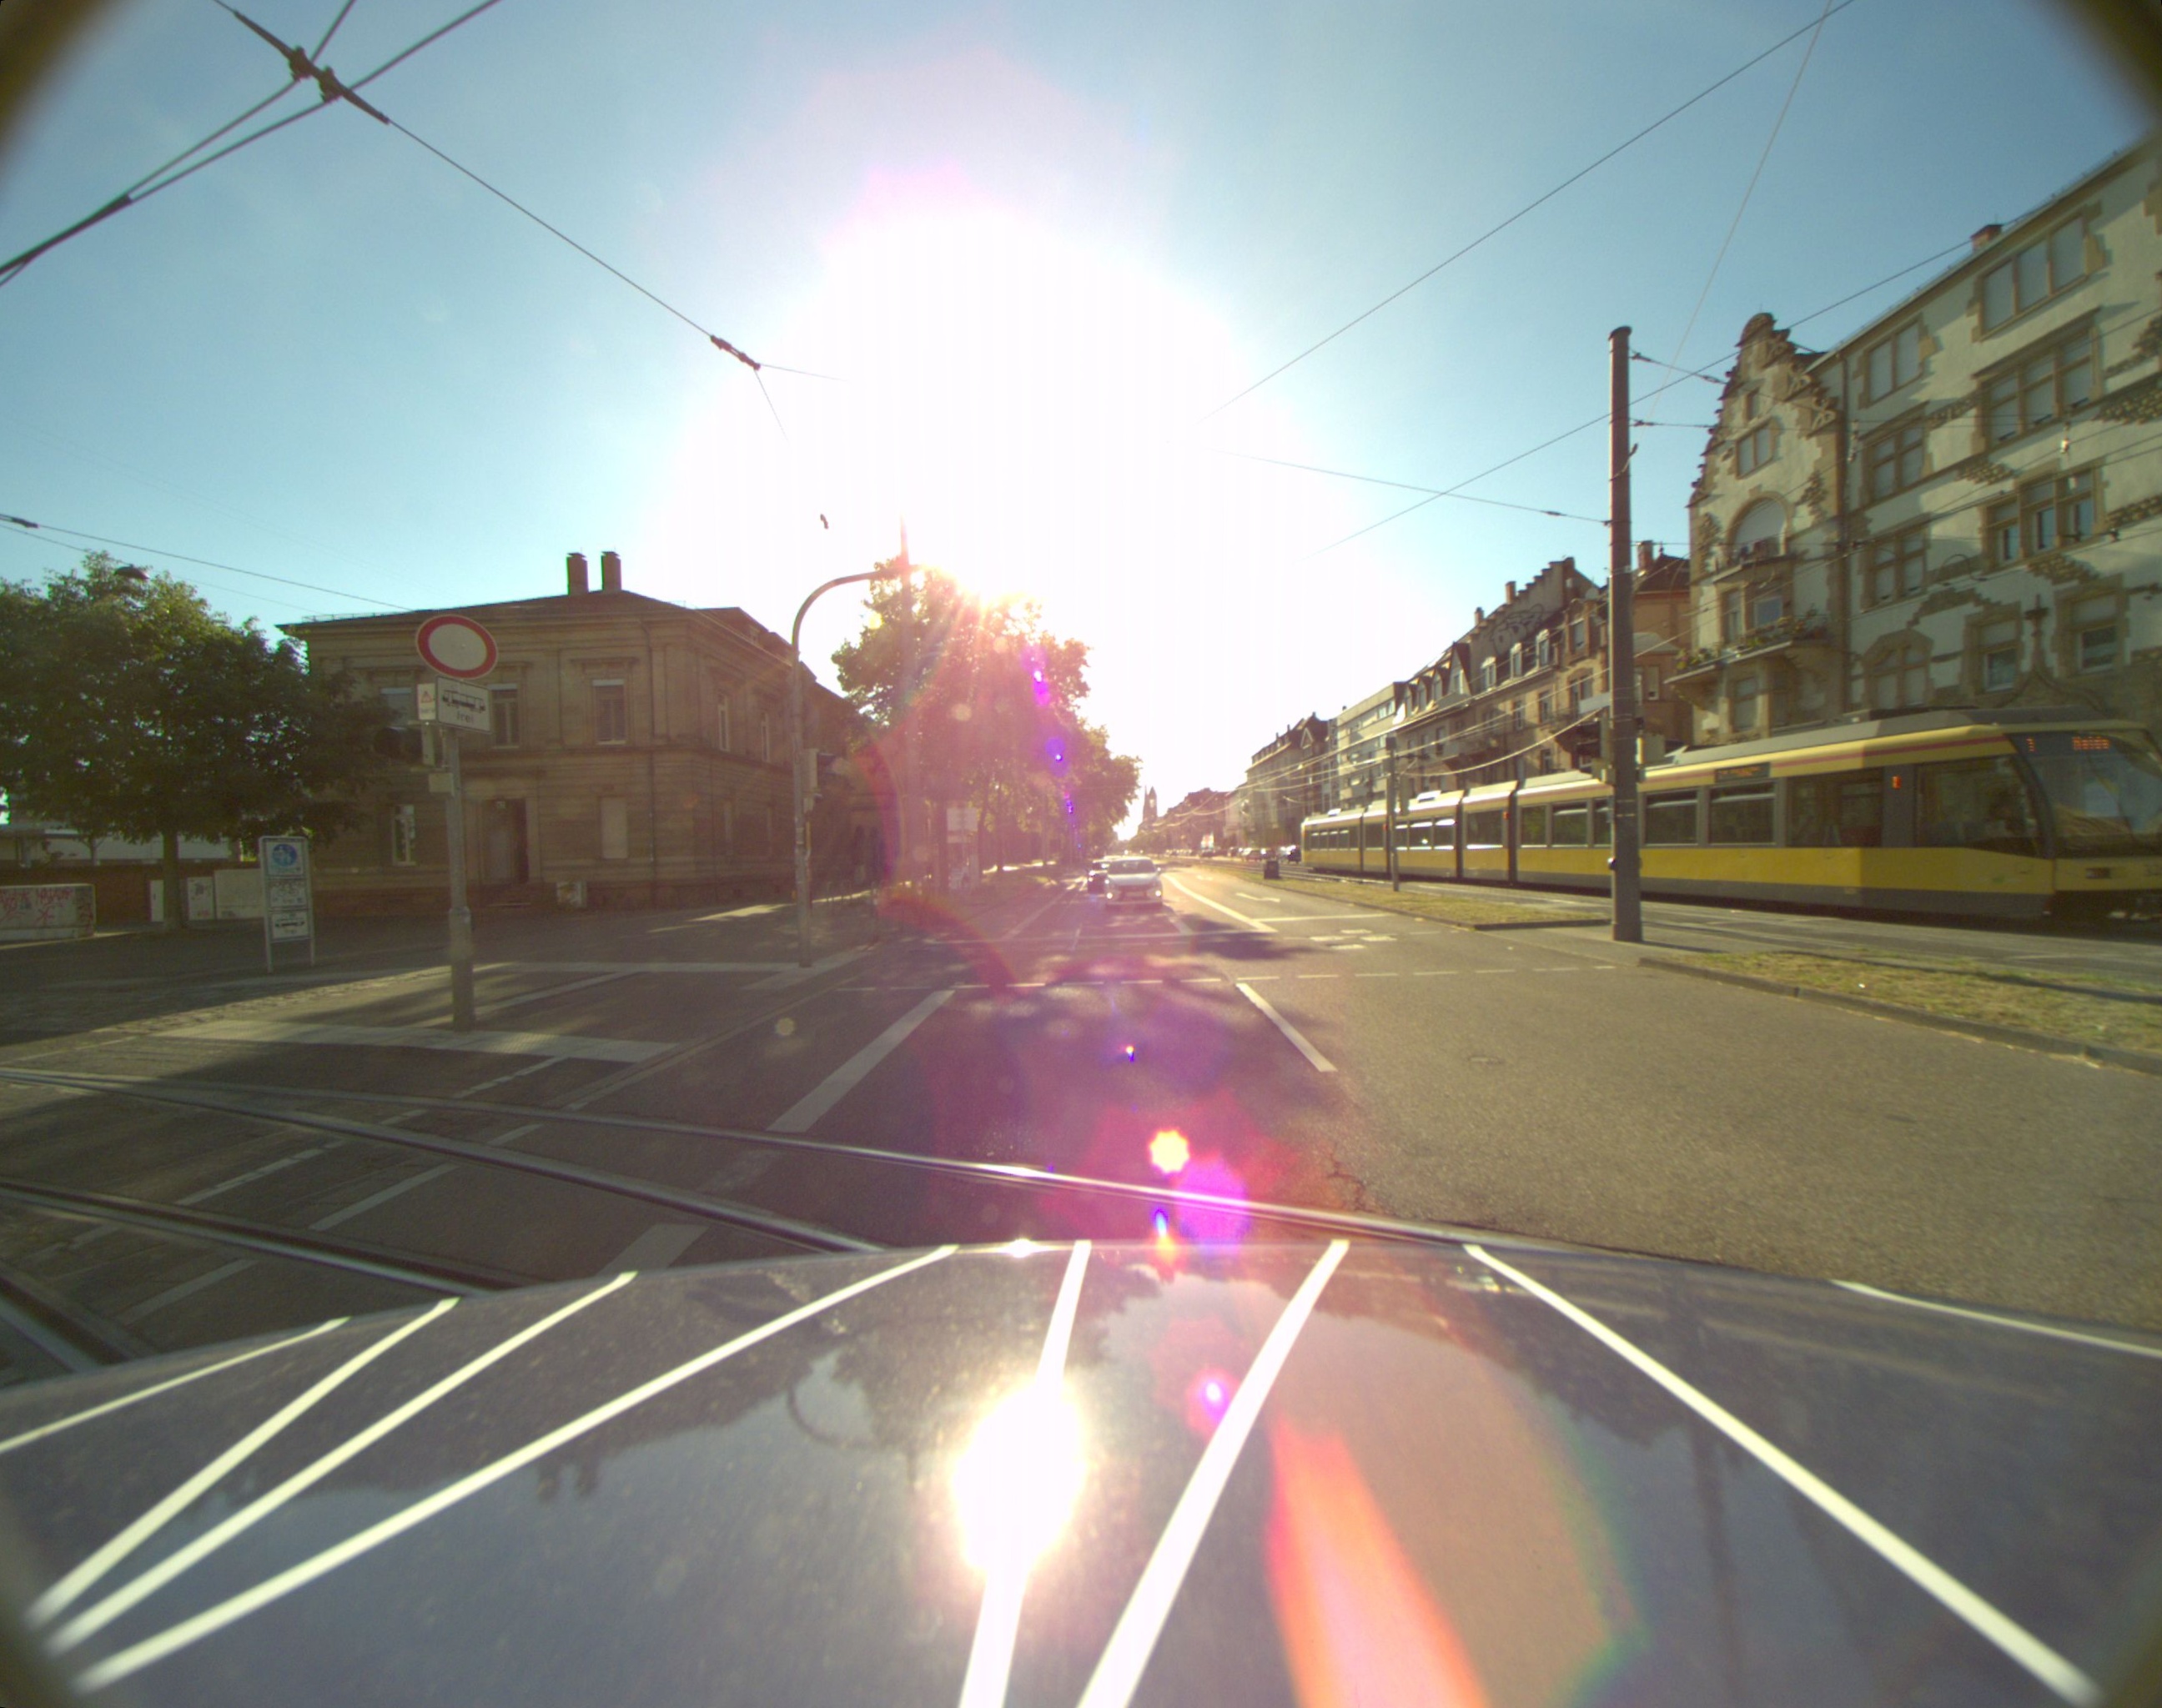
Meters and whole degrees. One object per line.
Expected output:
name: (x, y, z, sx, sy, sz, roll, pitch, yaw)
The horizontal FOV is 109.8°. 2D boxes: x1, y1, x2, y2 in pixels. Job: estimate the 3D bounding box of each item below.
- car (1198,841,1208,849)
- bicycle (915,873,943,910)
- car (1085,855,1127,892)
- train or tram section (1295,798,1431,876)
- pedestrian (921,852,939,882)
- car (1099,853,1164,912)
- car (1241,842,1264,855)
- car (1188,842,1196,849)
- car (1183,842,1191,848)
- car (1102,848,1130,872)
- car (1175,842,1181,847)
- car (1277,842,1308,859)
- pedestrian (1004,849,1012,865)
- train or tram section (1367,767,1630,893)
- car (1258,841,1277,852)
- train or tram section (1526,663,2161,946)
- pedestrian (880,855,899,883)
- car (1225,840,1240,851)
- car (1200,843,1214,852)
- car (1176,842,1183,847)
car: (28.332, -2.152, 176.231, 1.727, 1.776, 3.880, -3, 1, 2)
bicycle: (-4.705, 1.143, 23.614, 0.541, 1.055, 1.771, -2, 1, -2)
car: (1.154, 0.835, 34.428, 1.686, 1.462, 4.055, -3, 1, 3)
train or tram section: (14.757, -0.843, 41.411, 2.820, 3.469, 13.203, -2, 1, 2)
pedestrian: (-8.741, 0.735, 44.055, 0.771, 1.700, 1.042, -1, 1, 3)
car: (1.475, 0.780, 22.893, 1.686, 1.462, 4.055, -3, 1, 3)
car: (20.070, -0.646, 89.184, 1.824, 1.449, 4.540, -2, 1, 3)
car: (28.780, -2.232, 197.360, 1.623, 1.581, 3.450, -3, 1, 2)
car: (28.745, -2.484, 206.206, 1.623, 1.581, 3.450, -3, 1, 2)
car: (2.499, 0.395, 54.215, 1.833, 1.543, 4.000, -2, 1, 3)
car: (30.711, -3.002, 240.701, 1.623, 1.581, 3.450, -3, 1, 2)
car: (19.447, -0.328, 69.909, 1.824, 1.449, 4.157, -2, 1, 3)
pedestrian: (-7.751, 0.292, 80.462, 0.672, 1.653, 0.874, -1, 1, 3)
train or tram section: (14.342, -0.758, 28.191, 2.820, 3.469, 13.203, -2, 1, 2)
car: (26.636, -1.078, 108.611, 1.802, 1.471, 3.823, -3, 1, 2)
train or tram section: (13.916, -0.709, 15.488, 2.820, 3.469, 12.153, -2, 1, 2)
pedestrian: (-11.191, 0.872, 44.431, 0.771, 1.597, 0.986, -1, 1, 3)
car: (26.815, -1.476, 134.542, 1.875, 1.727, 3.915, -3, 1, 2)
car: (21.650, -1.128, 130.906, 1.824, 1.449, 4.165, -2, 1, 1)
car: (30.571, -2.908, 235.794, 1.623, 1.581, 3.450, -3, 1, 2)
